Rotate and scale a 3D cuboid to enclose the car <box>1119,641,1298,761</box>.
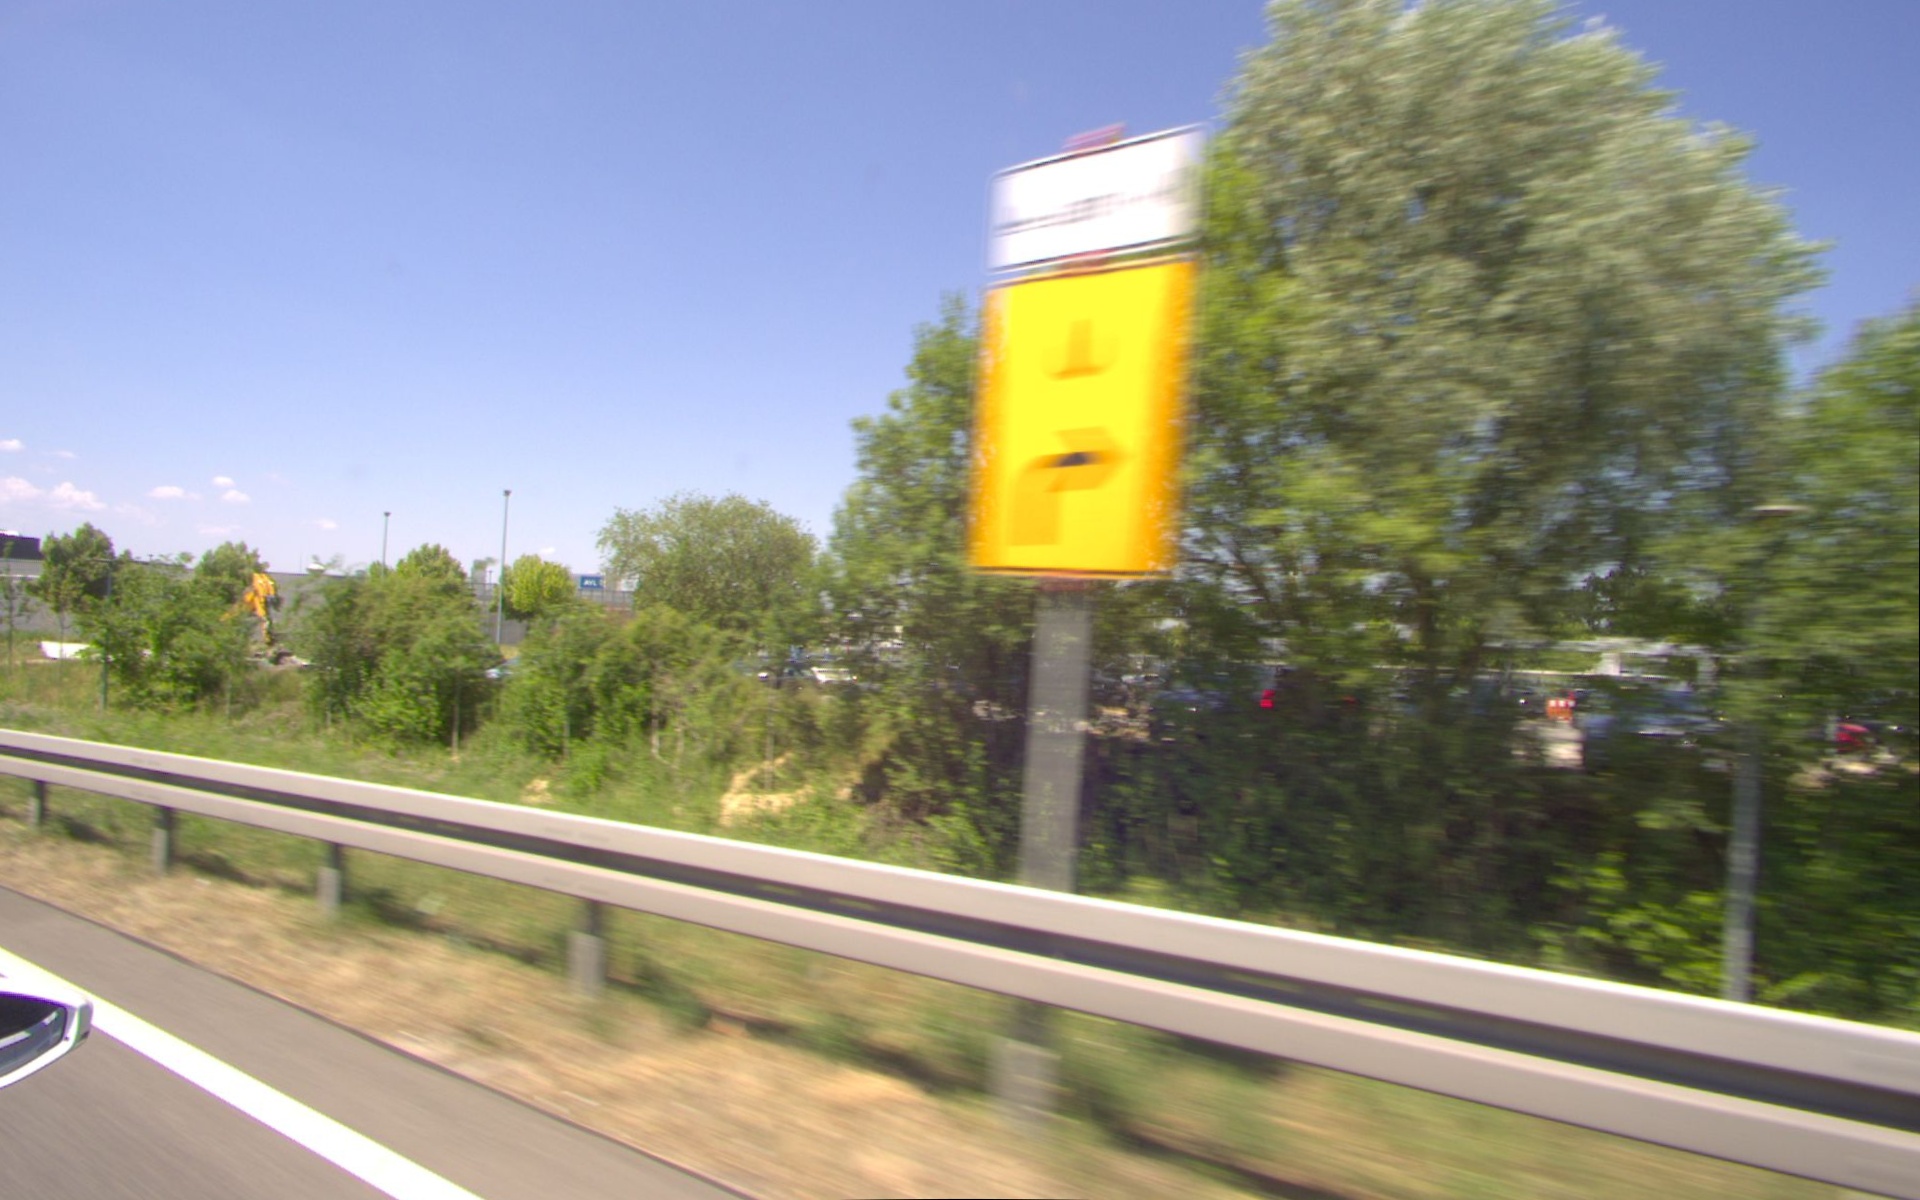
[{"bbox_3d":[5.097,1.939,20.020,1.971,1.993,4.672,2,-2,33],"label":"car"}]

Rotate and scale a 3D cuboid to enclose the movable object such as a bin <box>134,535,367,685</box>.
[{"bbox_3d":[-28.232,0.335,39.770,9.077,5.328,3.426,3,-1,26],"label":"movable object such as a bin"}]

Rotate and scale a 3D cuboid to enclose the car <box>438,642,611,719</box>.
[{"bbox_3d":[-12.772,2.350,29.632,1.970,1.993,4.292,3,-2,30],"label":"car"}]
